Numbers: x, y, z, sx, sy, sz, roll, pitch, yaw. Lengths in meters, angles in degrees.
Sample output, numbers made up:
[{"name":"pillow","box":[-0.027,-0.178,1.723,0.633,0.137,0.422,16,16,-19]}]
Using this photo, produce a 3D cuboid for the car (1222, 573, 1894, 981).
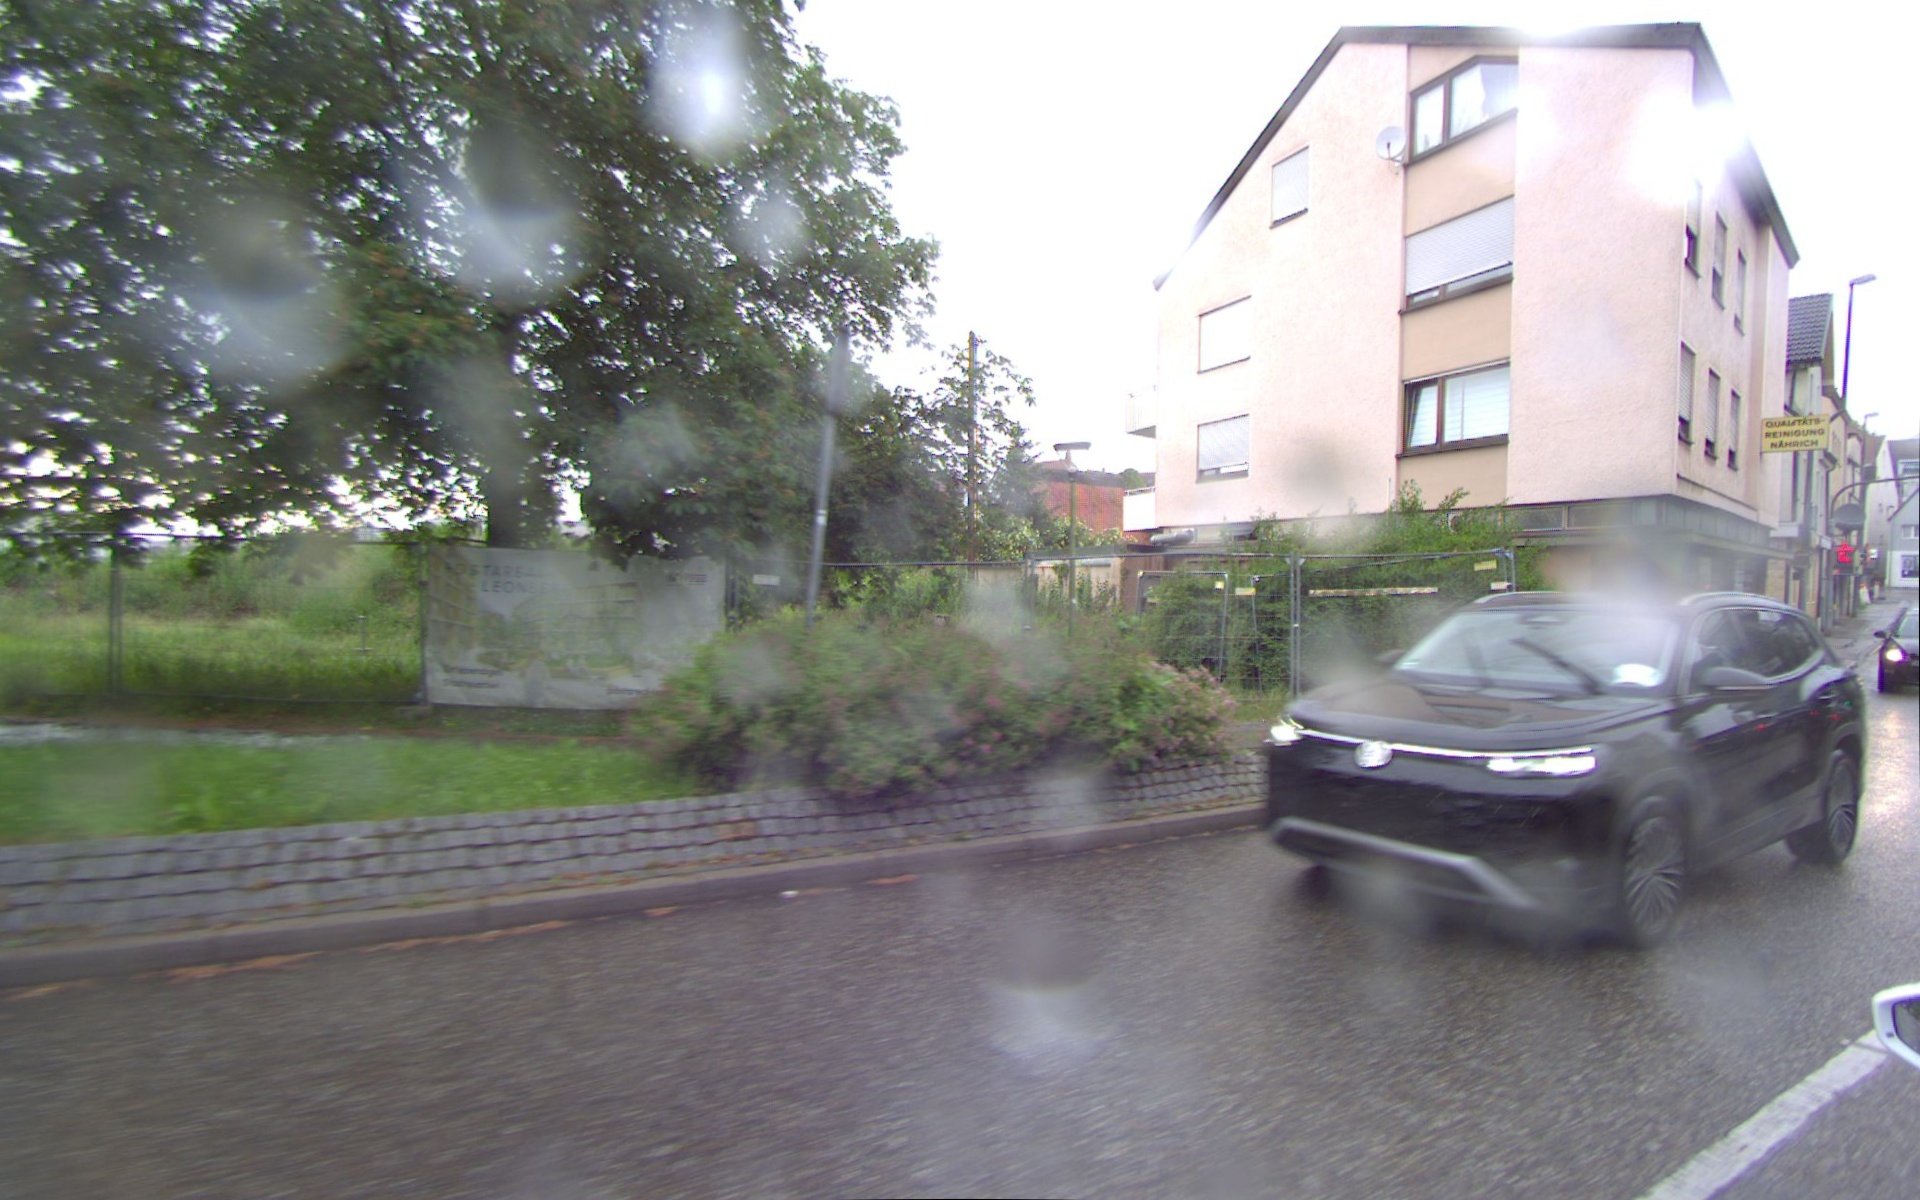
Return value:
[{"name":"car","box":[3.733,0.743,6.013,4.312,1.616,1.881,1,-1,-35]}]

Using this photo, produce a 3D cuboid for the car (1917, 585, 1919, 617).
[{"name":"car","box":[50.419,0.027,51.639,1.766,1.581,4.310,1,2,44]}]

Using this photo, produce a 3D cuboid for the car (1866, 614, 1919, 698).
[{"name":"car","box":[17.920,0.988,18.505,1.751,1.420,3.896,1,0,43]}]

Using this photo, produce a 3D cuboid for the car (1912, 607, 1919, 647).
[{"name":"car","box":[37.664,1.030,38.447,1.673,1.391,4.086,0,1,45]}]
